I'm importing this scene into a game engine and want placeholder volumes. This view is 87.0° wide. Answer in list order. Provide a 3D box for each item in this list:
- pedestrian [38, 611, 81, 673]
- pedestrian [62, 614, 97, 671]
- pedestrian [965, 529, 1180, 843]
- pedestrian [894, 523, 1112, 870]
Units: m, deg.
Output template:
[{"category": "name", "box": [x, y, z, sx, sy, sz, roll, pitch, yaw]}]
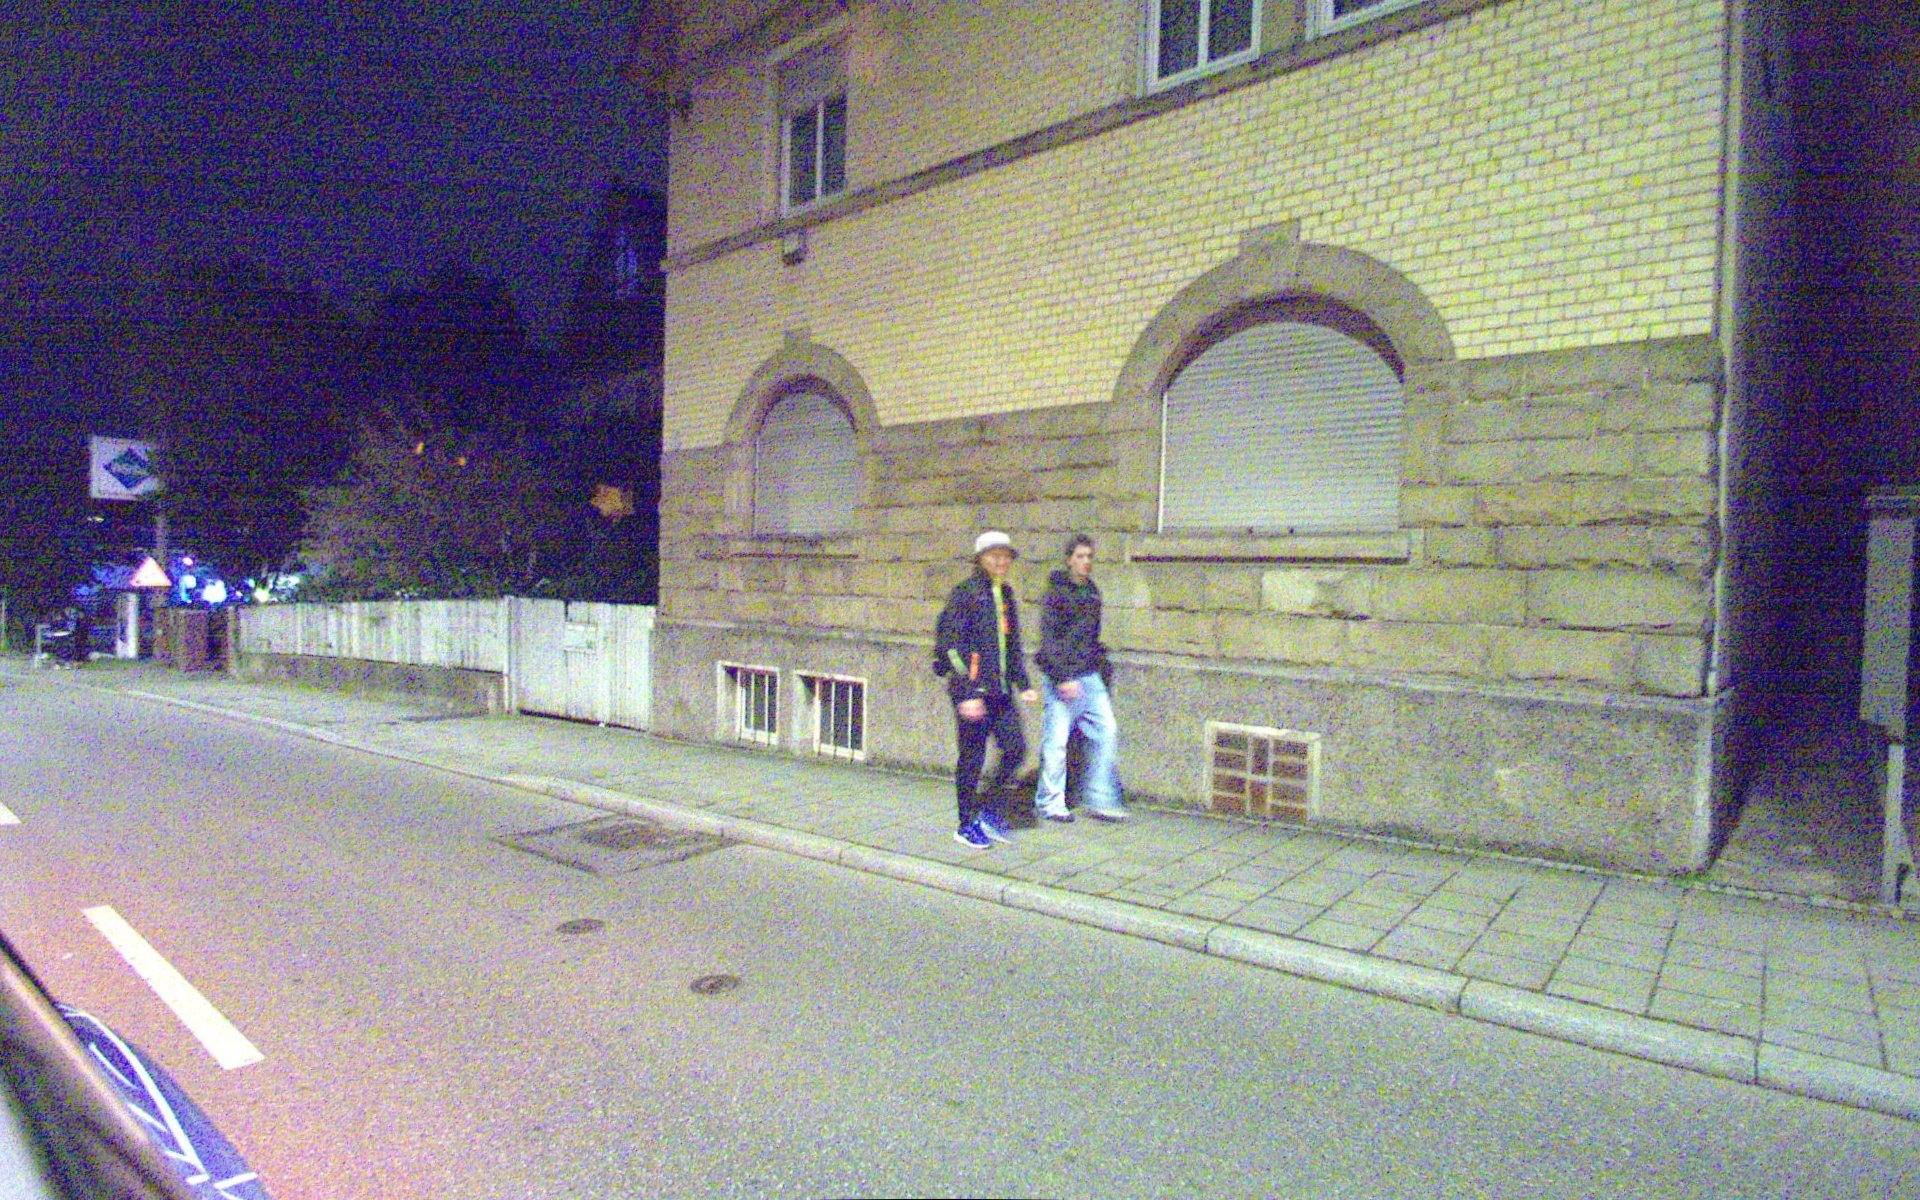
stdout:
[{"category": "pedestrian", "box": [-24.981, 1.146, 28.074, 1.102, 1.684, 0.734, -1, 0, 40]}, {"category": "pedestrian", "box": [-27.481, 1.314, 31.588, 0.865, 1.739, 0.662, -1, -1, 38]}, {"category": "pedestrian", "box": [0.691, 0.486, 6.306, 1.102, 1.758, 0.734, -1, 0, 40]}, {"category": "pedestrian", "box": [0.234, 0.493, 5.720, 1.028, 1.758, 0.668, -1, 0, 40]}]
